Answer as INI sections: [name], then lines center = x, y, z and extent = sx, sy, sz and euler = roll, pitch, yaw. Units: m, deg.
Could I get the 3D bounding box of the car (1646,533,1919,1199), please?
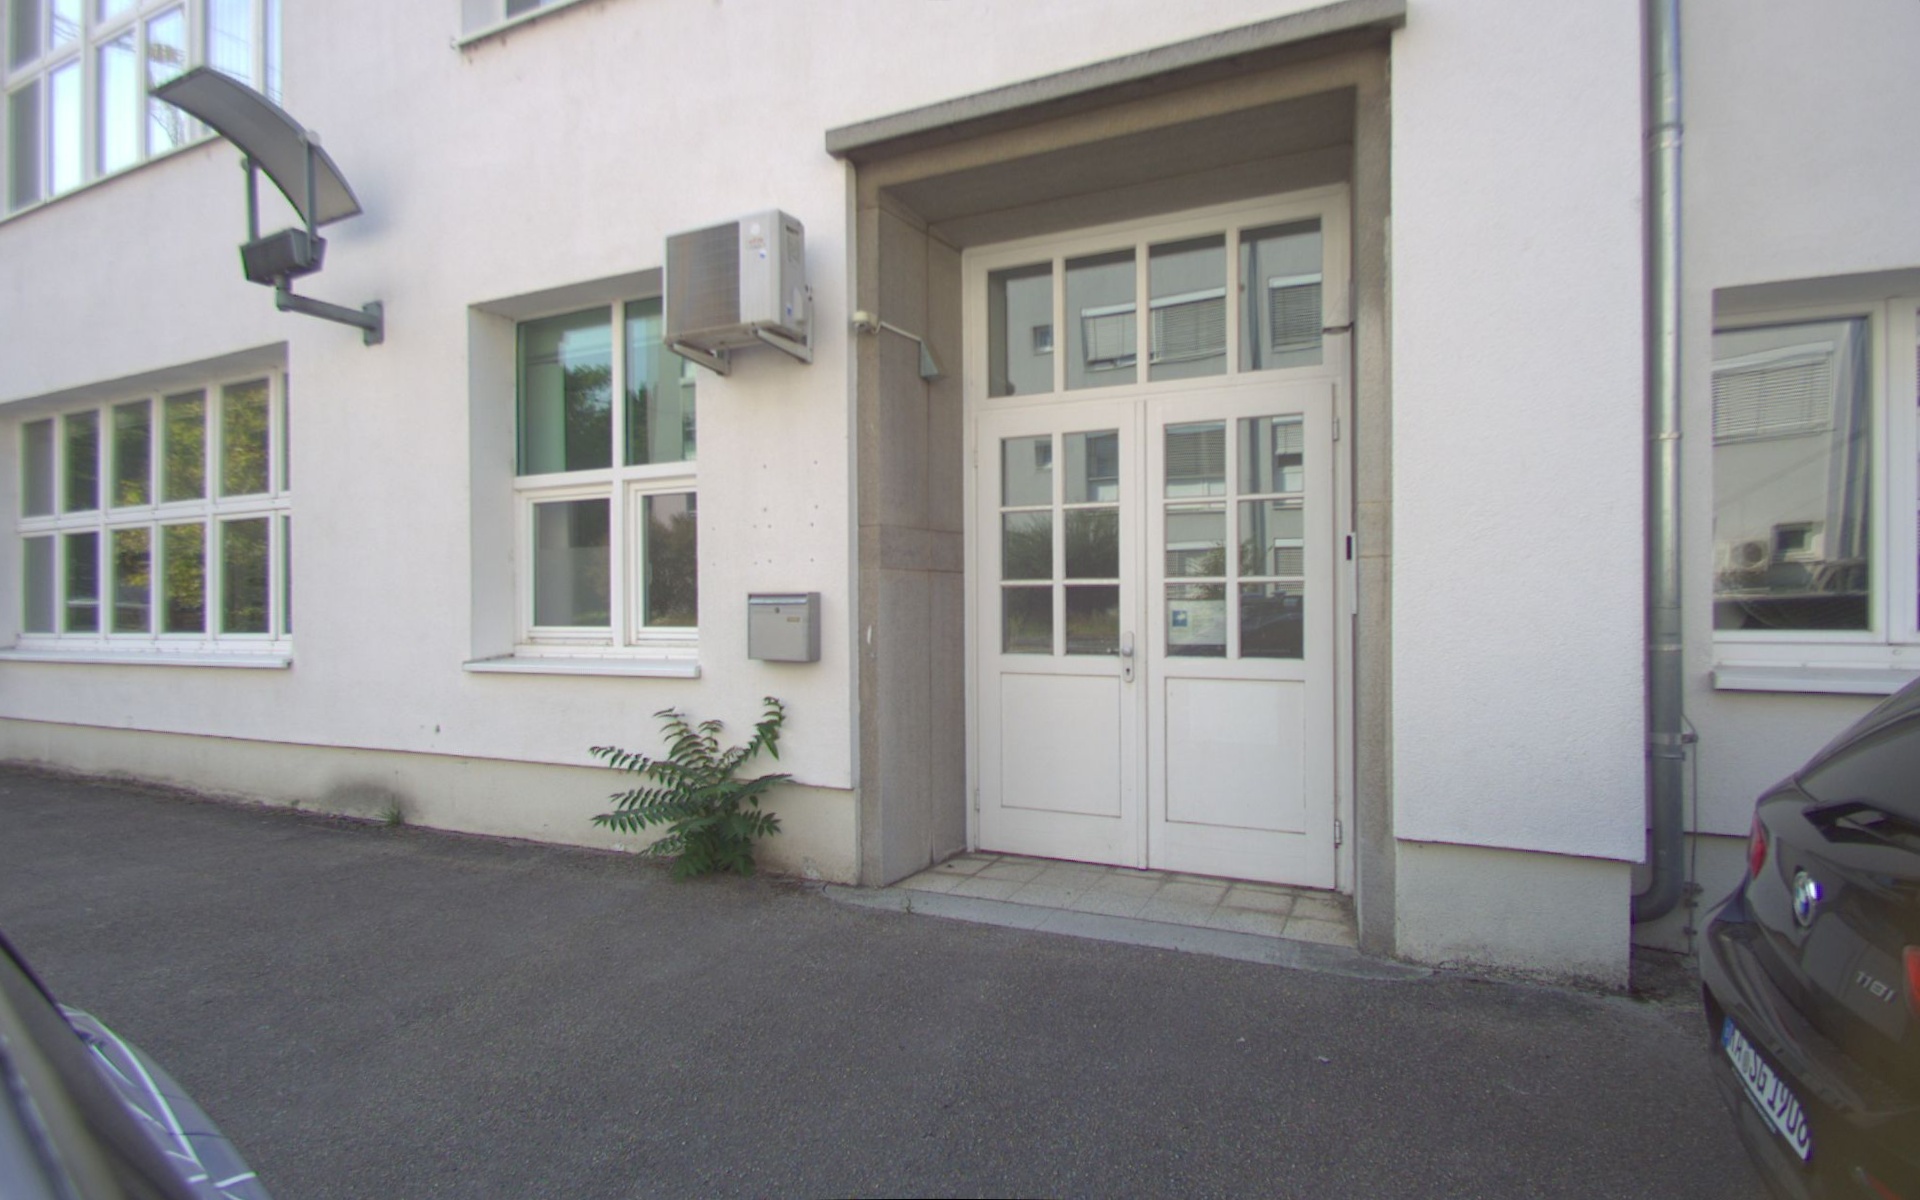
[car]
center = 3.380, 0.593, 1.049
extent = 4.110, 1.439, 1.785
euler = -1, 0, 24
